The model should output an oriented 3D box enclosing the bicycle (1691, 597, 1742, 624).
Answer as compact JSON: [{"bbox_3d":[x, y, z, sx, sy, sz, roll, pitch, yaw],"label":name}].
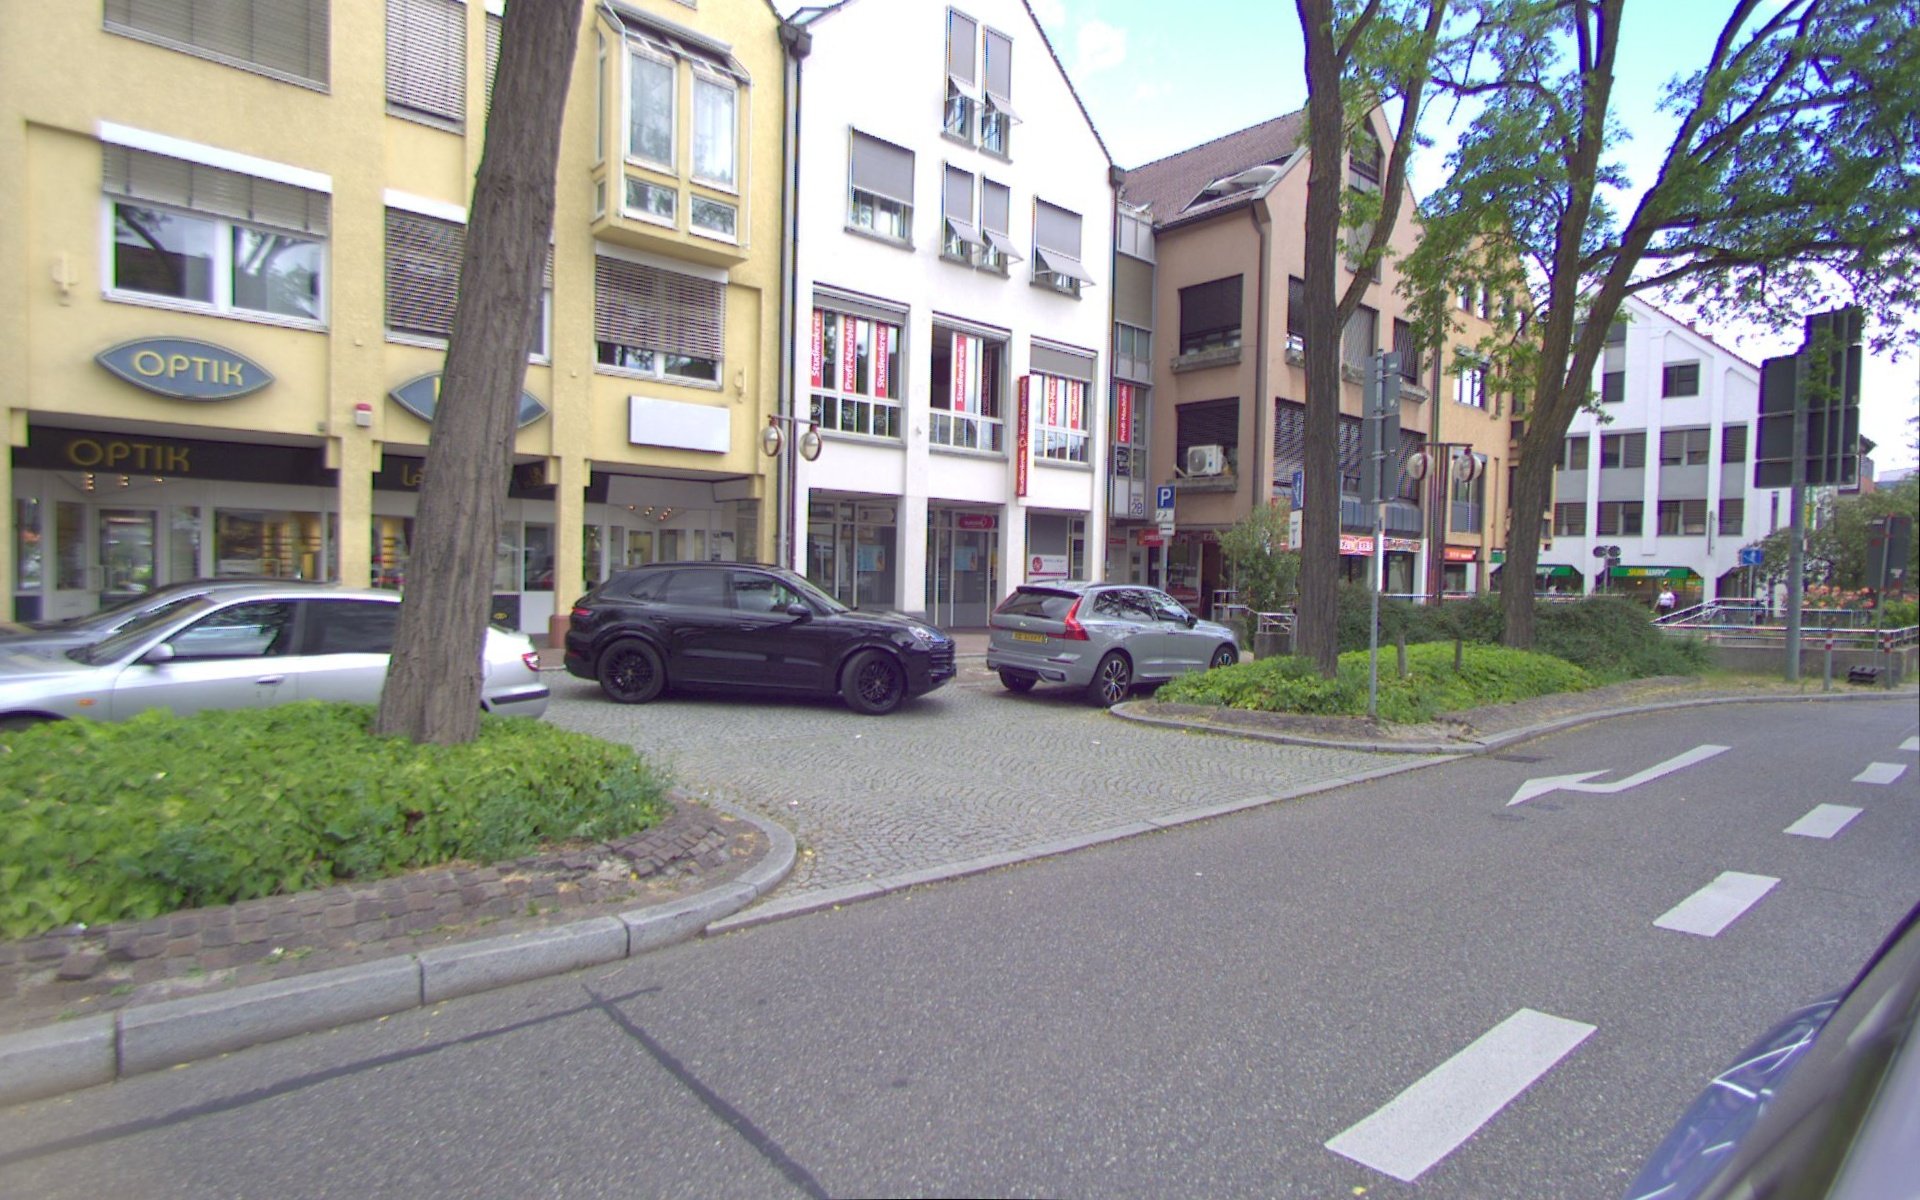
[{"bbox_3d":[29.622,0.402,39.644,1.584,0.981,0.455,2,1,36],"label":"bicycle"}]

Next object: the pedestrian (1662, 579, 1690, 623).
[{"bbox_3d":[30.659,0.027,43.327,0.772,1.846,0.869,0,0,-45],"label":"pedestrian"}]

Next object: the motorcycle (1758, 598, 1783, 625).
[{"bbox_3d":[34.158,0.480,42.636,1.961,1.081,0.464,0,1,-41],"label":"motorcycle"}]

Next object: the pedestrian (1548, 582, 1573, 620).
[{"bbox_3d":[28.493,0.039,48.001,0.882,1.779,0.931,2,1,38],"label":"pedestrian"}]

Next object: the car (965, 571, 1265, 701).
[{"bbox_3d":[2.451,0.438,15.166,4.685,1.615,1.996,0,2,-44],"label":"car"}]

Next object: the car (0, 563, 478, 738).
[{"bbox_3d":[-7.458,0.392,10.161,4.344,1.393,2.000,0,3,-43],"label":"car"}]

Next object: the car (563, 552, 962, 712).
[{"bbox_3d":[-2.304,0.336,12.646,4.574,1.690,1.860,2,2,0],"label":"car"}]

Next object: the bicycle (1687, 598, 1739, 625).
[{"bbox_3d":[29.164,0.437,39.204,1.584,1.014,0.409,2,1,37],"label":"bicycle"}]

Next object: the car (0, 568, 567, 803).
[{"bbox_3d":[-5.630,0.523,8.039,4.344,1.468,1.765,0,2,-43],"label":"car"}]
